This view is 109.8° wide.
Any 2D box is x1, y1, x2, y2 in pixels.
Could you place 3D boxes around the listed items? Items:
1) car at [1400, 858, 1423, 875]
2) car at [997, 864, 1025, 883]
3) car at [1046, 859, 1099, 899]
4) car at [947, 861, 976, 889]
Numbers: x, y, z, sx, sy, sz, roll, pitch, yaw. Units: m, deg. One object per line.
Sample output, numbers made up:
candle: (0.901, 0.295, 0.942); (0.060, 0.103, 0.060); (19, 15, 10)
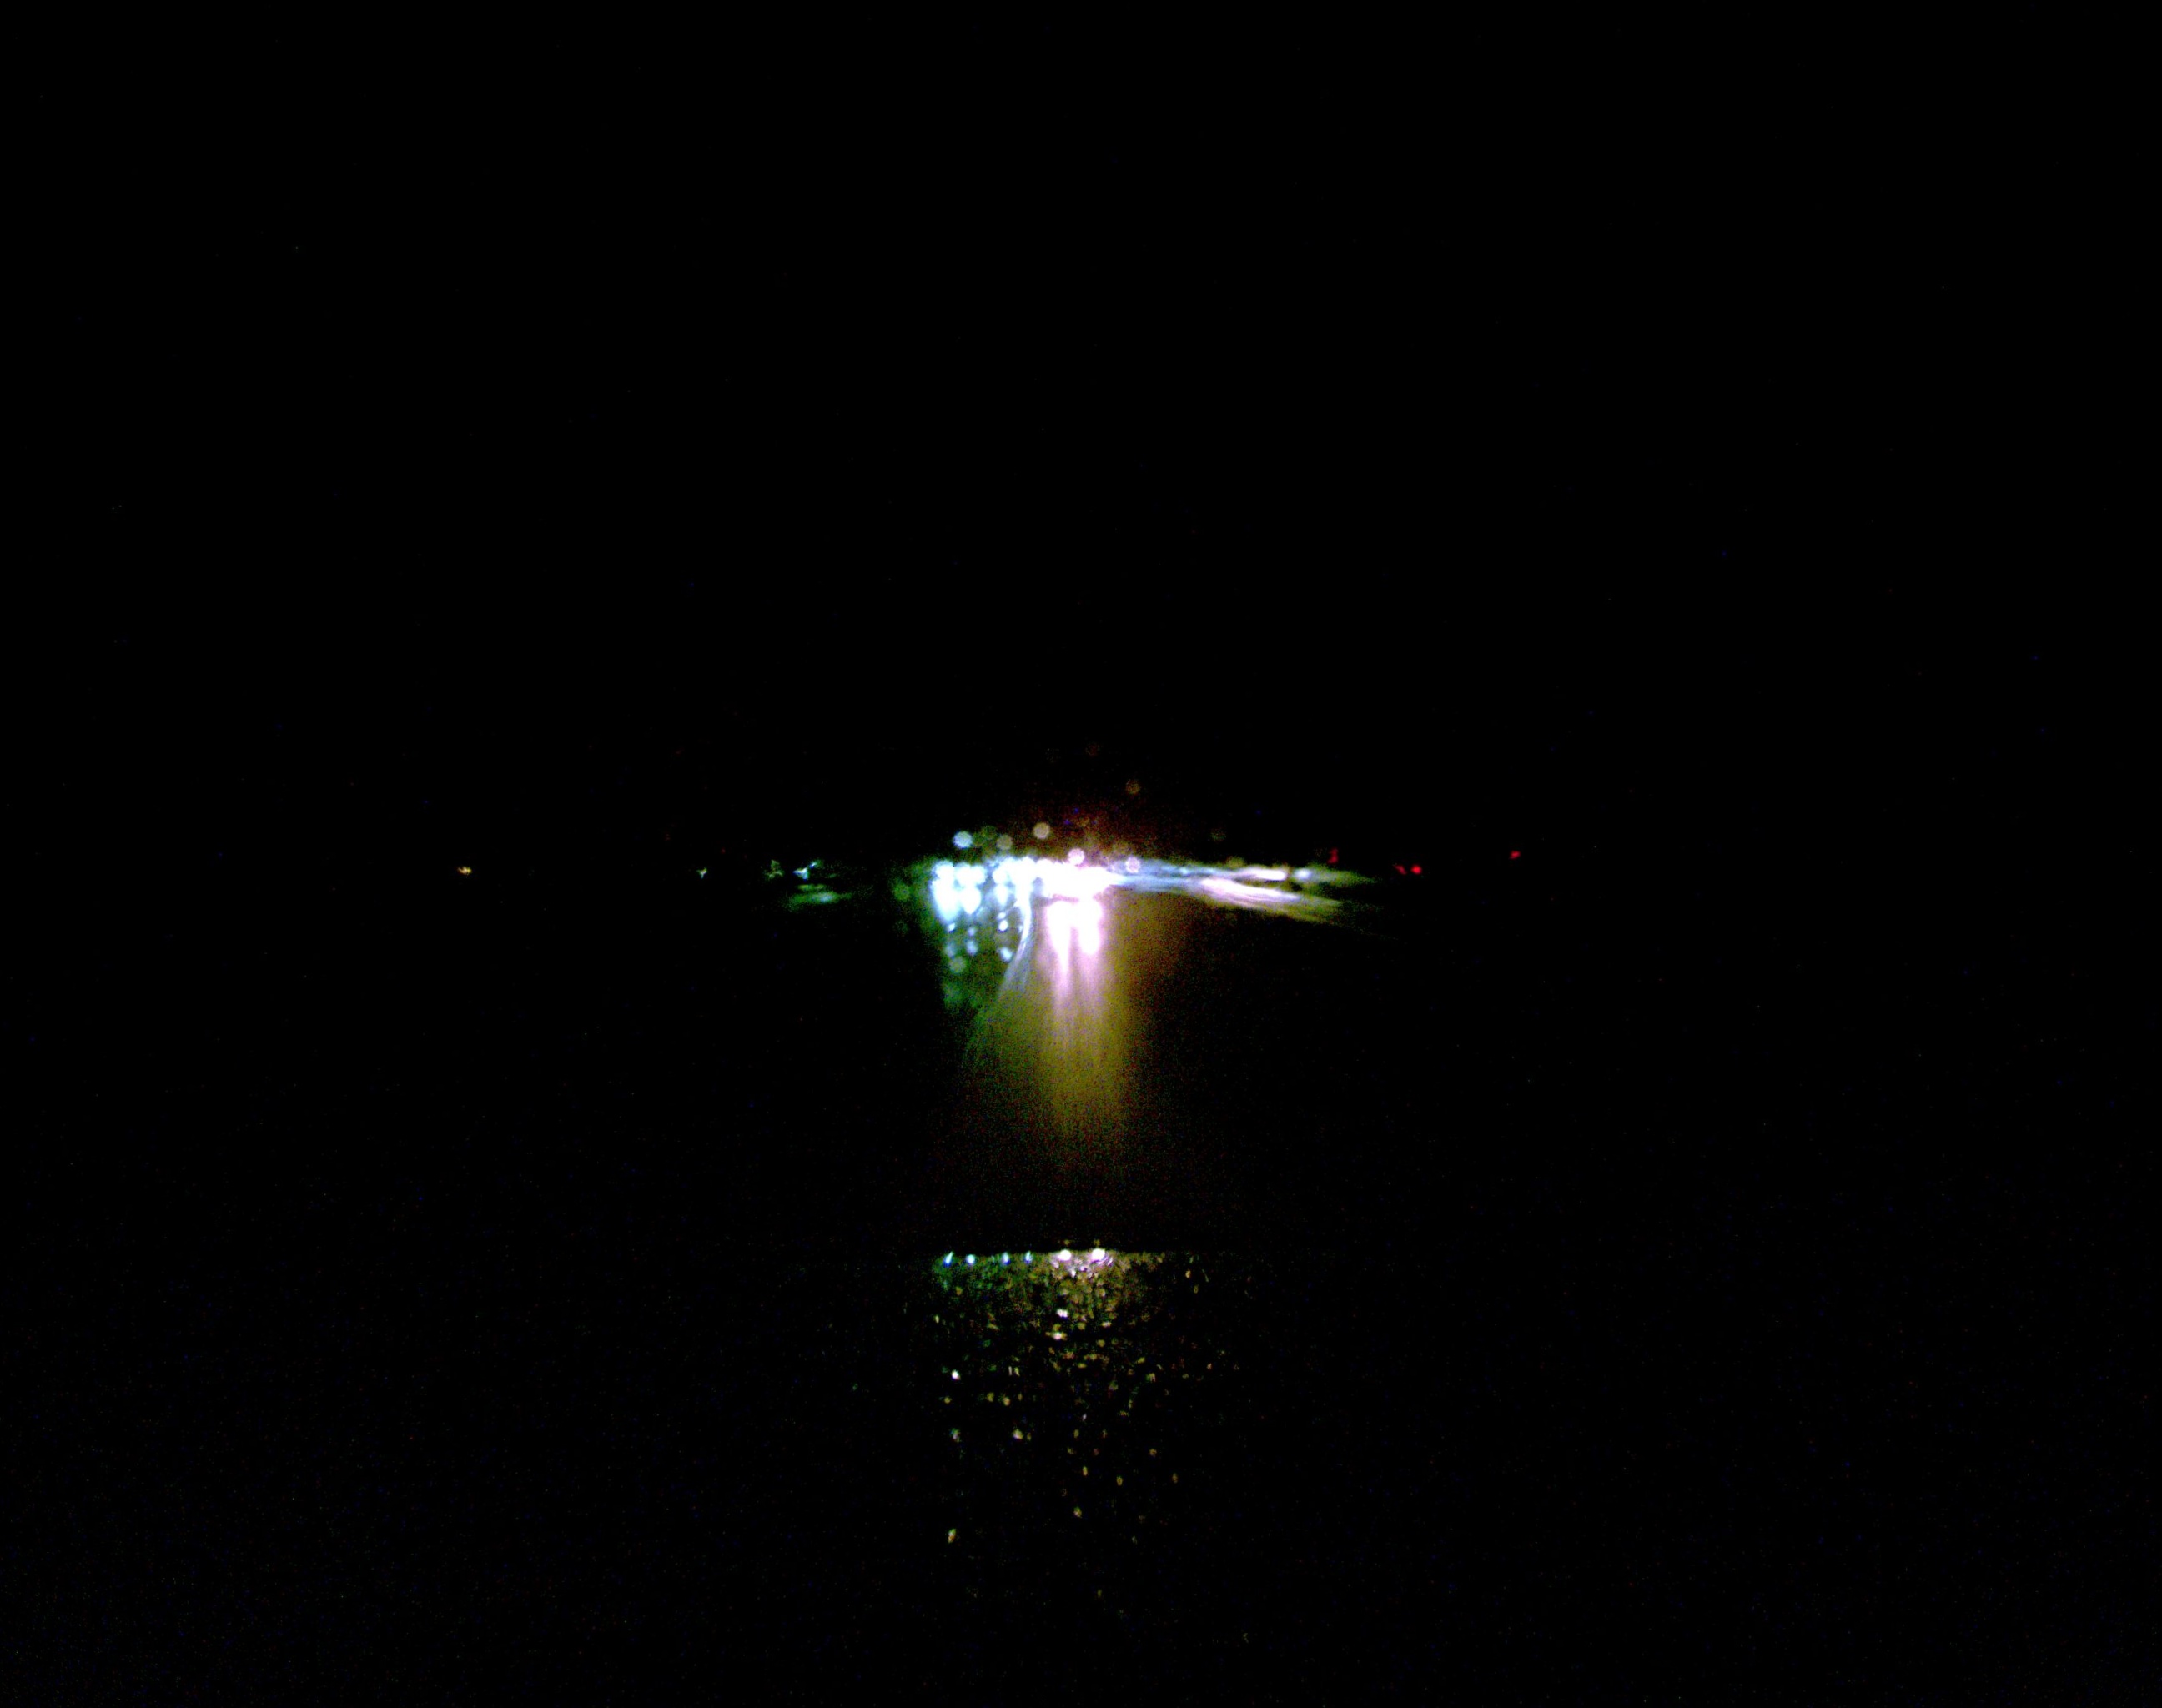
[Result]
car: (30.399, 1.137, 69.767); (1.727, 1.390, 3.935); (2, 2, 26)
car: (-5.219, 1.433, 56.574); (1.761, 1.304, 4.083); (-2, -1, -9)
car: (-0.287, 1.016, 32.116); (1.686, 1.442, 3.644); (-4, 0, 7)
car: (-7.898, 1.337, 50.153); (1.742, 1.674, 4.117); (-3, -1, -9)
